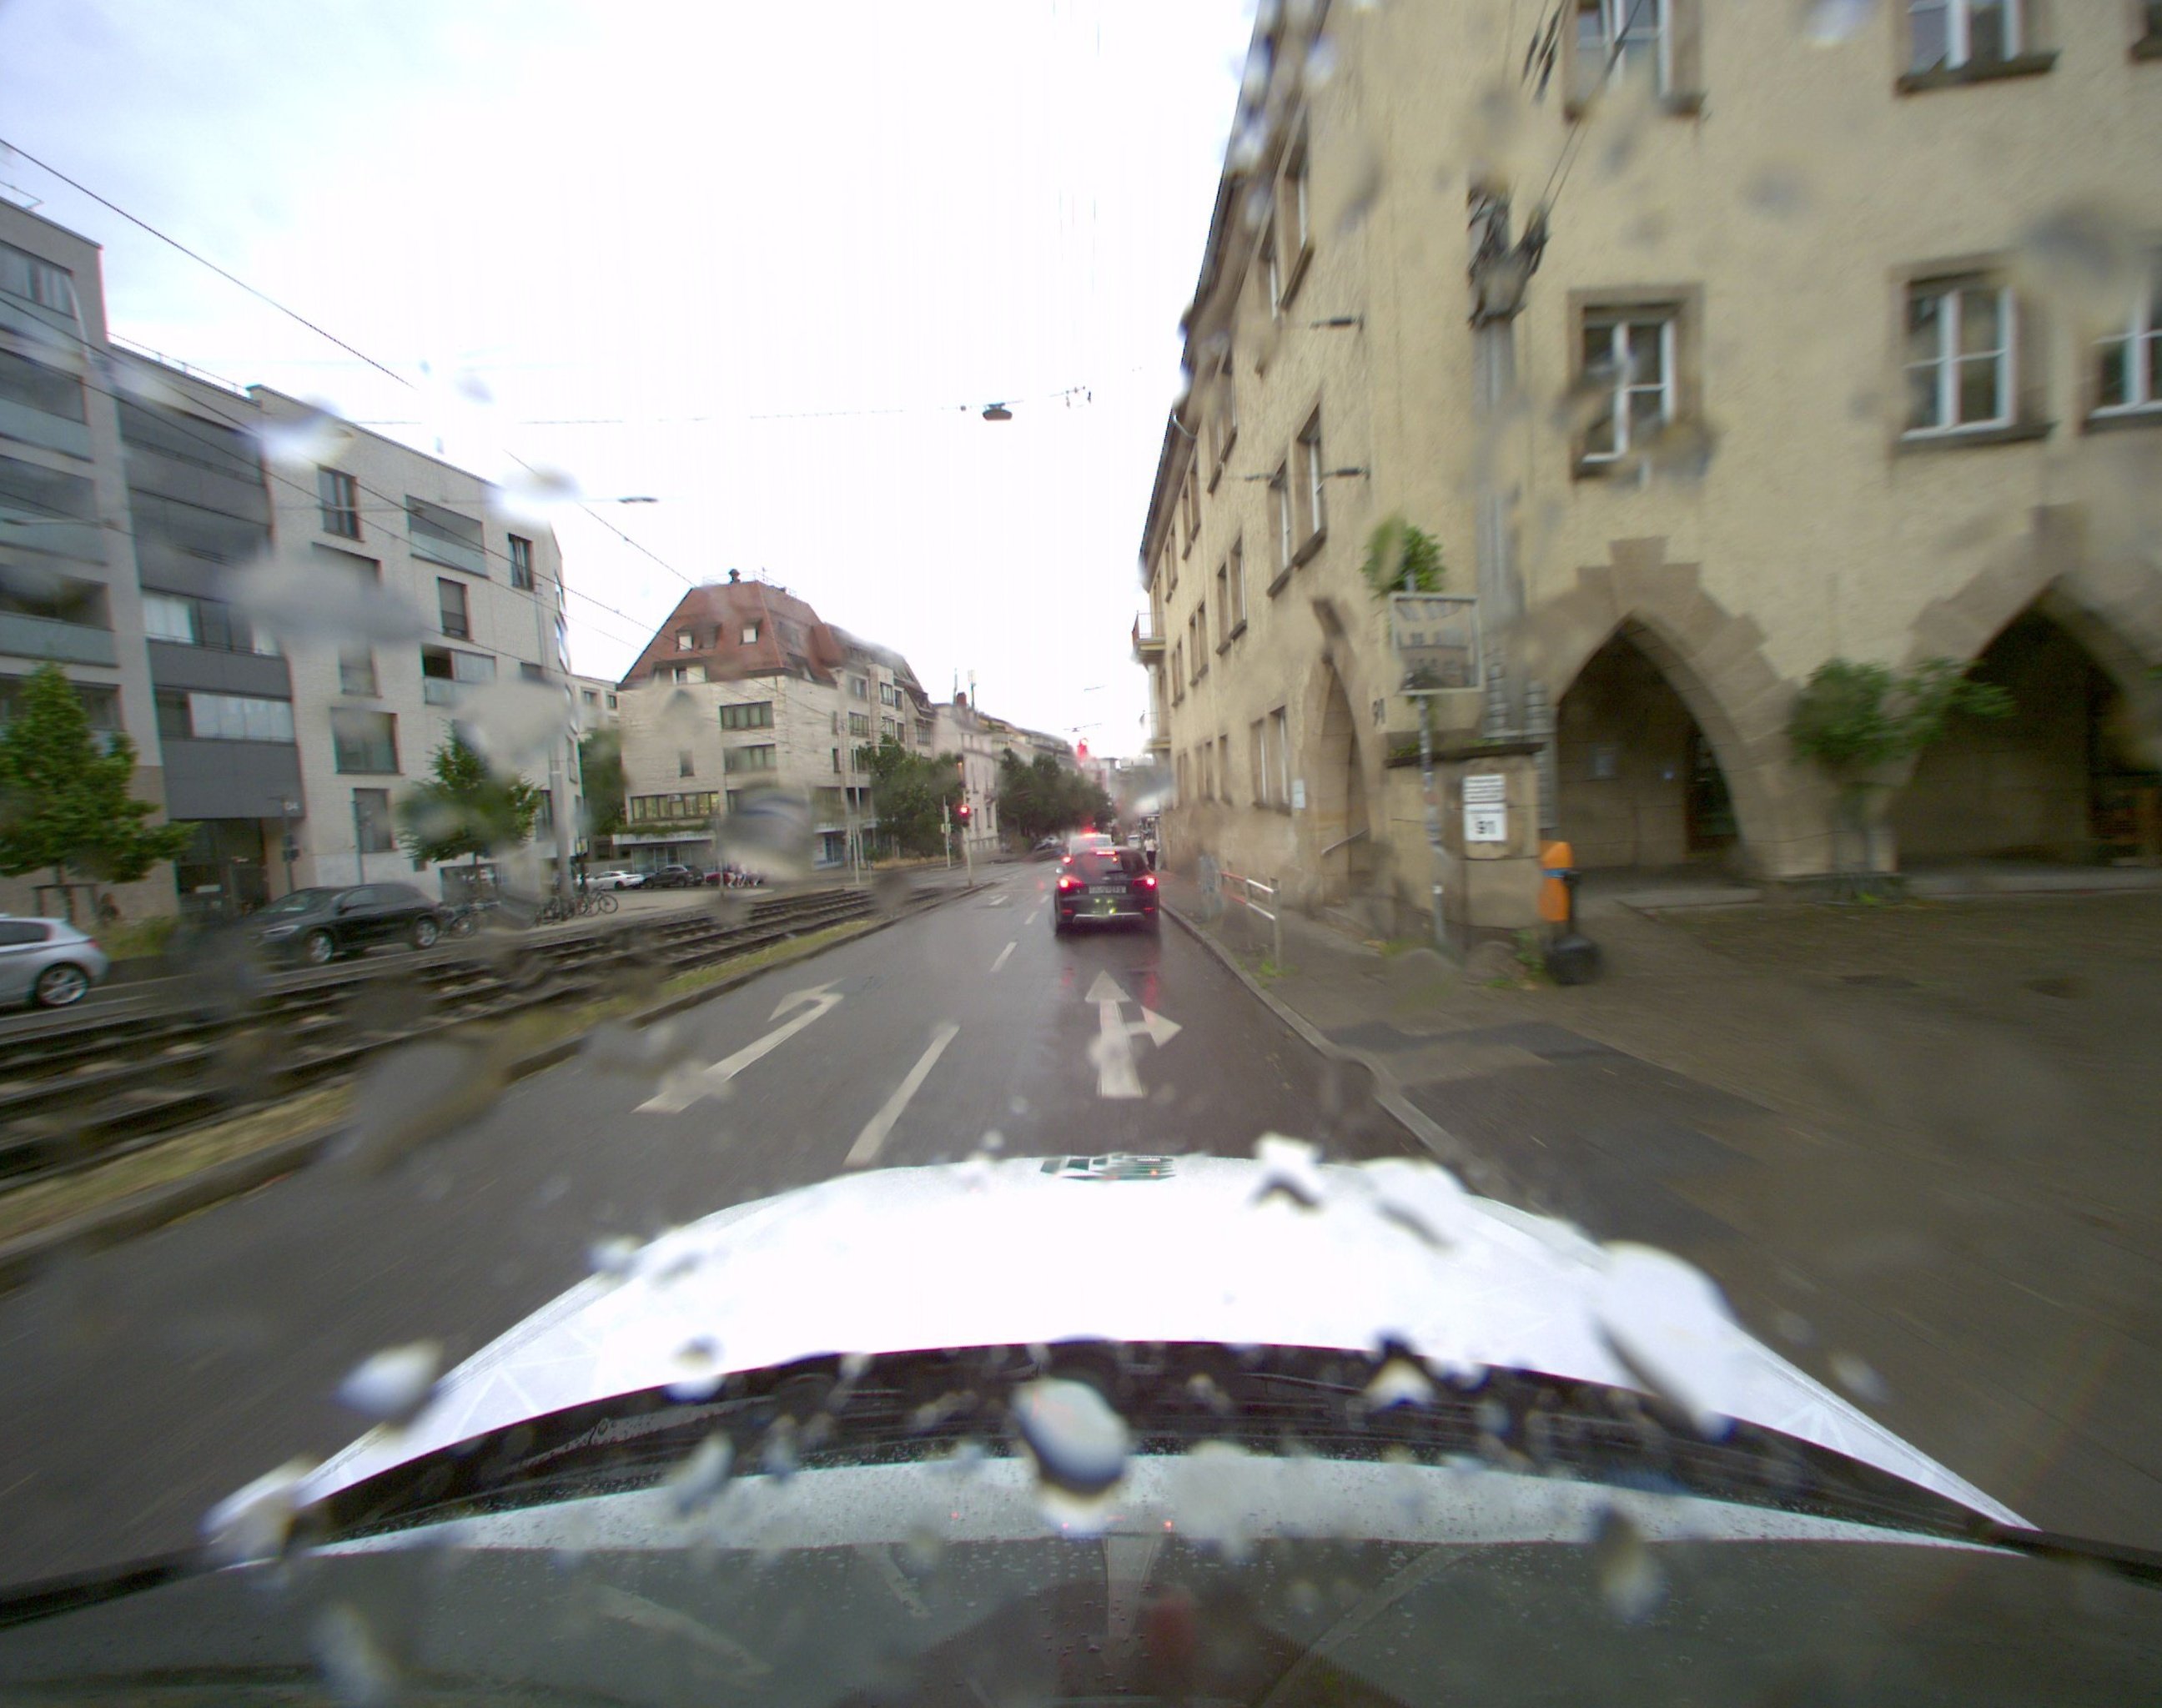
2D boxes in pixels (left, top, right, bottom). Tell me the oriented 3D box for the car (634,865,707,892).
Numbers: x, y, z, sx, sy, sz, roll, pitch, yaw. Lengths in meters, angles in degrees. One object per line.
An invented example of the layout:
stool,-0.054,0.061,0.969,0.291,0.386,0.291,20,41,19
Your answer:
car,-28.667,1.701,56.934,4.109,1.568,1.828,-3,1,9

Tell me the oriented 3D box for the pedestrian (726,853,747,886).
pedestrian,-21.896,0.959,51.784,0.939,2.013,0.764,-3,1,-3

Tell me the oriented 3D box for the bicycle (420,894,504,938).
bicycle,-16.868,1.673,22.215,1.795,1.064,0.456,-3,1,-7

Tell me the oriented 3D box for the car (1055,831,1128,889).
car,0.288,0.147,28.870,2.133,1.745,4.213,-4,1,-4

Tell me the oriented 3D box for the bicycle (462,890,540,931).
bicycle,-17.077,1.659,24.006,1.799,1.064,0.455,-3,1,-14

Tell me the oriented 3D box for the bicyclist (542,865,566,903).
bicyclist,-22.602,1.290,34.933,0.460,1.573,0.701,-3,1,-1

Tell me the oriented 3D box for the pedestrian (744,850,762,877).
pedestrian,-24.541,0.725,60.958,0.903,1.931,0.824,-4,1,-4

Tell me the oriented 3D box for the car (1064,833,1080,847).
car,-1.380,-2.264,130.593,1.984,2.013,4.007,-3,1,5

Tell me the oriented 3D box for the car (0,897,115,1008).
car,-16.248,1.500,10.896,1.768,1.503,4.080,-3,1,-3

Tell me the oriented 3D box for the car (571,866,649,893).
car,-33.302,1.773,57.600,4.433,1.568,1.913,-3,1,9

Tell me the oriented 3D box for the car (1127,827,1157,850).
car,5.181,-1.327,68.704,1.980,1.771,4.013,-3,1,11

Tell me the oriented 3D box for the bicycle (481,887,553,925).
bicycle,-17.919,1.641,25.909,1.799,1.064,0.455,-3,1,-14

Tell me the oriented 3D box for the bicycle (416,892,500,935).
bicycle,-17.510,1.677,22.909,1.797,1.064,0.456,-3,1,-11

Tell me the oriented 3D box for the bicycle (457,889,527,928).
bicycle,-18.035,1.669,24.957,1.761,1.071,0.486,-2,1,3

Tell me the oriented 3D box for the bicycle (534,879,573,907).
bicycle,-22.585,1.653,34.910,0.454,1.064,1.803,-2,1,1

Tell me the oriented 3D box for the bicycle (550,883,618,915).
bicycle,-18.248,1.647,29.907,1.948,1.027,0.719,-3,1,-9

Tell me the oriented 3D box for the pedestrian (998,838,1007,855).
pedestrian,-9.646,-0.973,99.687,0.941,2.013,0.762,-3,1,-9

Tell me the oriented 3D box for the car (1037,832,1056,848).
car,-4.767,-1.920,112.886,1.984,2.013,4.007,-3,1,5

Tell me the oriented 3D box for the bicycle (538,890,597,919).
bicycle,-18.138,1.776,28.785,1.650,0.866,0.567,-3,1,-10

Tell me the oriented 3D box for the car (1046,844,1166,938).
car,0.381,0.574,15.099,1.914,1.479,3.998,-1,1,-1

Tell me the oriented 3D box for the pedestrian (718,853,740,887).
pedestrian,-21.857,0.968,50.576,0.939,2.013,0.764,-3,1,-3

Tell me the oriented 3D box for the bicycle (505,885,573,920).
bicycle,-18.552,1.665,27.918,1.798,1.064,0.567,-3,1,-12

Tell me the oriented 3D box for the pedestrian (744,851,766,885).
pedestrian,-20.090,0.875,50.195,0.938,2.013,0.765,-3,1,0

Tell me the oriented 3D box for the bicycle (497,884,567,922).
bicycle,-18.035,1.591,26.777,1.802,1.108,0.452,-3,1,-20

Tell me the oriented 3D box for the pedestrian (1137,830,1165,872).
pedestrian,3.159,-0.148,36.831,1.042,1.794,0.902,-3,1,-2

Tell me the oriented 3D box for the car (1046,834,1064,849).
car,-3.734,-1.889,119.219,1.984,2.013,4.007,-3,1,5

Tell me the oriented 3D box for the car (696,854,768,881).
car,-23.933,0.934,55.957,4.109,1.568,1.828,-3,1,9

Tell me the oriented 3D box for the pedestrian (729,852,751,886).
pedestrian,-21.076,0.907,50.353,0.939,2.013,0.764,-3,1,-3

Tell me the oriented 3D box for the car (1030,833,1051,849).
car,-5.265,-1.711,106.594,1.984,2.013,4.007,-3,1,5

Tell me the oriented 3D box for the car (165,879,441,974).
car,-16.480,1.442,17.630,1.907,1.503,4.233,-4,1,-3
